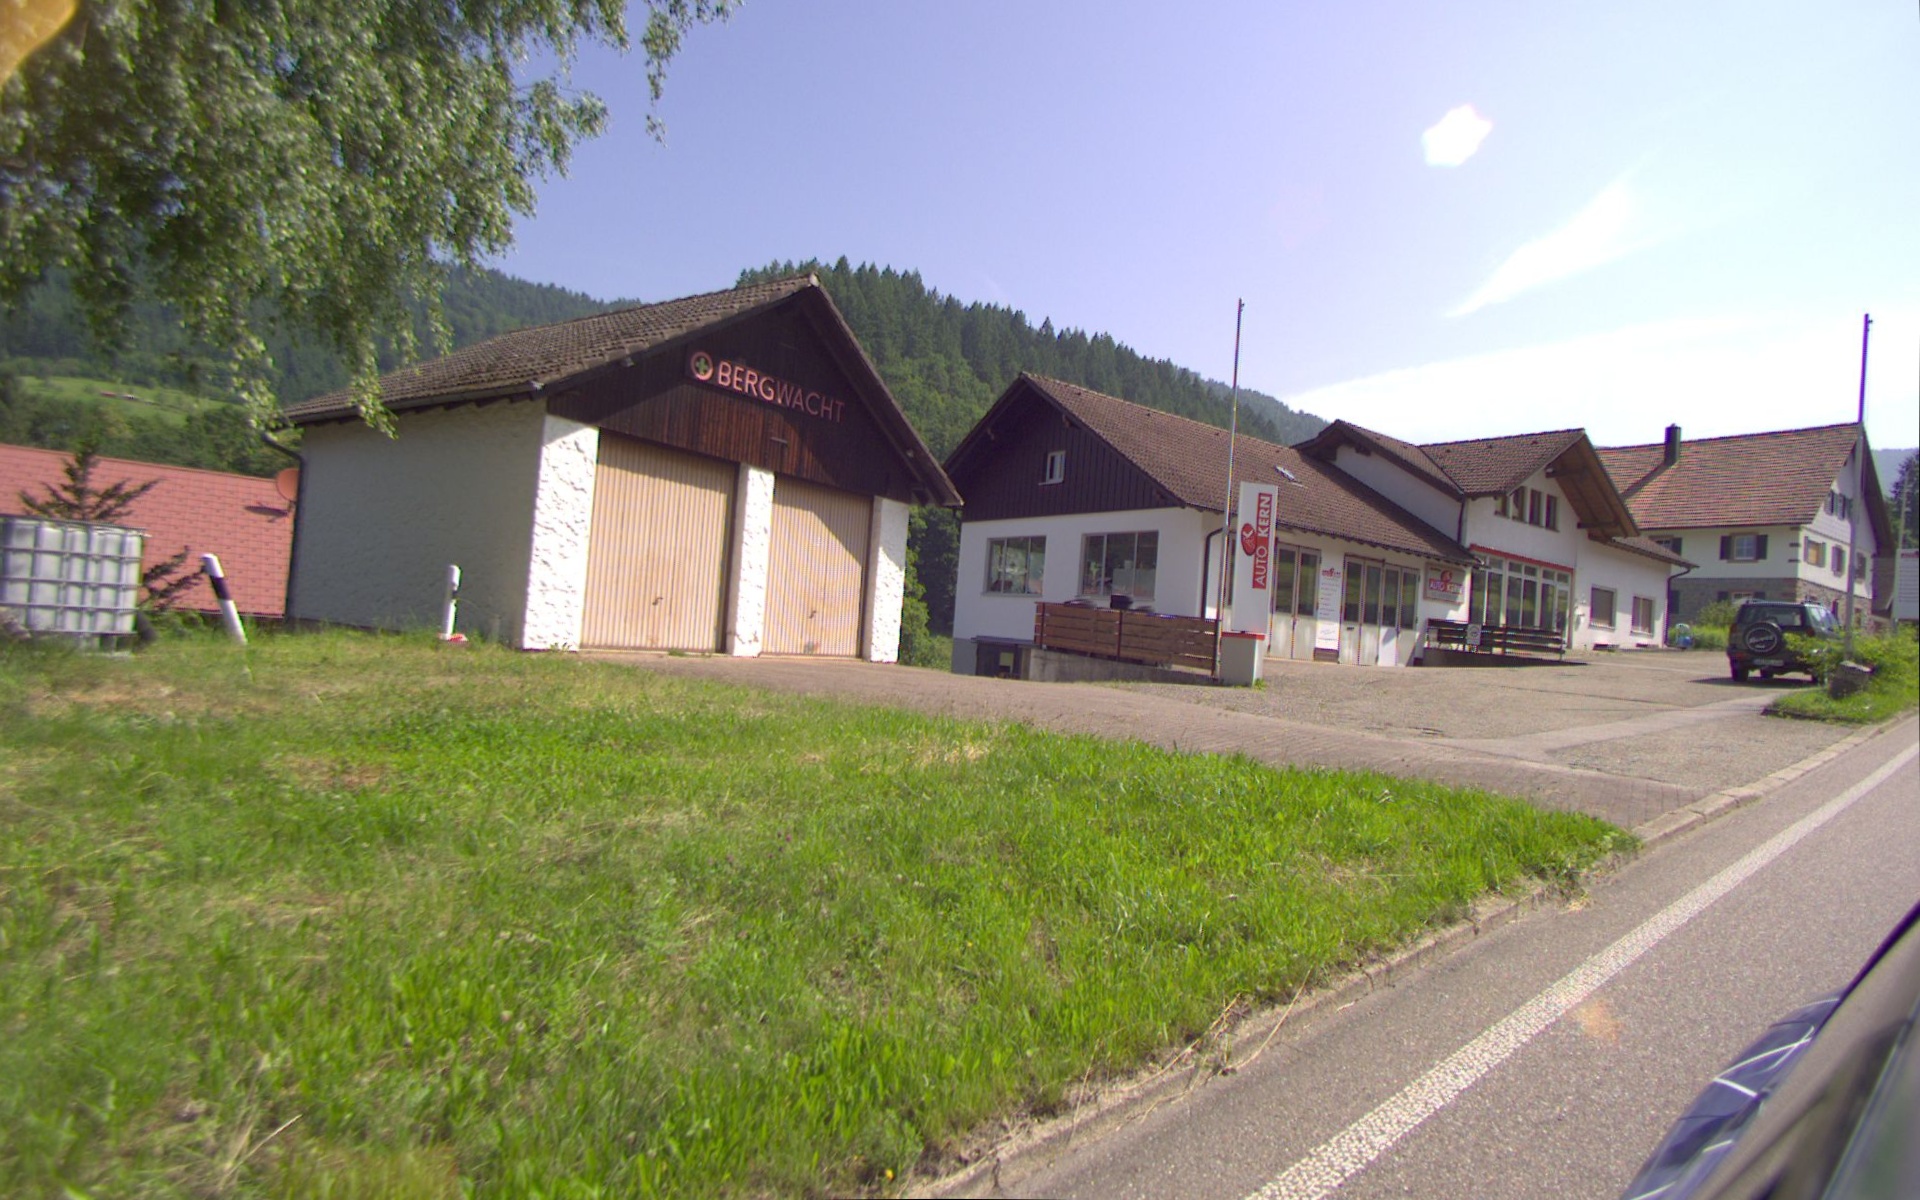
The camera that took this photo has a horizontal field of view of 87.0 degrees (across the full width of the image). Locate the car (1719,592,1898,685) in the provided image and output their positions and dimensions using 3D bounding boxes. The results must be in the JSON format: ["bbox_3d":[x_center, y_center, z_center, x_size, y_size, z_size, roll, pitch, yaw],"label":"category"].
[{"bbox_3d":[19.110,0.822,22.742,4.572,1.836,1.816,1,1,-34],"label":"car"}]
